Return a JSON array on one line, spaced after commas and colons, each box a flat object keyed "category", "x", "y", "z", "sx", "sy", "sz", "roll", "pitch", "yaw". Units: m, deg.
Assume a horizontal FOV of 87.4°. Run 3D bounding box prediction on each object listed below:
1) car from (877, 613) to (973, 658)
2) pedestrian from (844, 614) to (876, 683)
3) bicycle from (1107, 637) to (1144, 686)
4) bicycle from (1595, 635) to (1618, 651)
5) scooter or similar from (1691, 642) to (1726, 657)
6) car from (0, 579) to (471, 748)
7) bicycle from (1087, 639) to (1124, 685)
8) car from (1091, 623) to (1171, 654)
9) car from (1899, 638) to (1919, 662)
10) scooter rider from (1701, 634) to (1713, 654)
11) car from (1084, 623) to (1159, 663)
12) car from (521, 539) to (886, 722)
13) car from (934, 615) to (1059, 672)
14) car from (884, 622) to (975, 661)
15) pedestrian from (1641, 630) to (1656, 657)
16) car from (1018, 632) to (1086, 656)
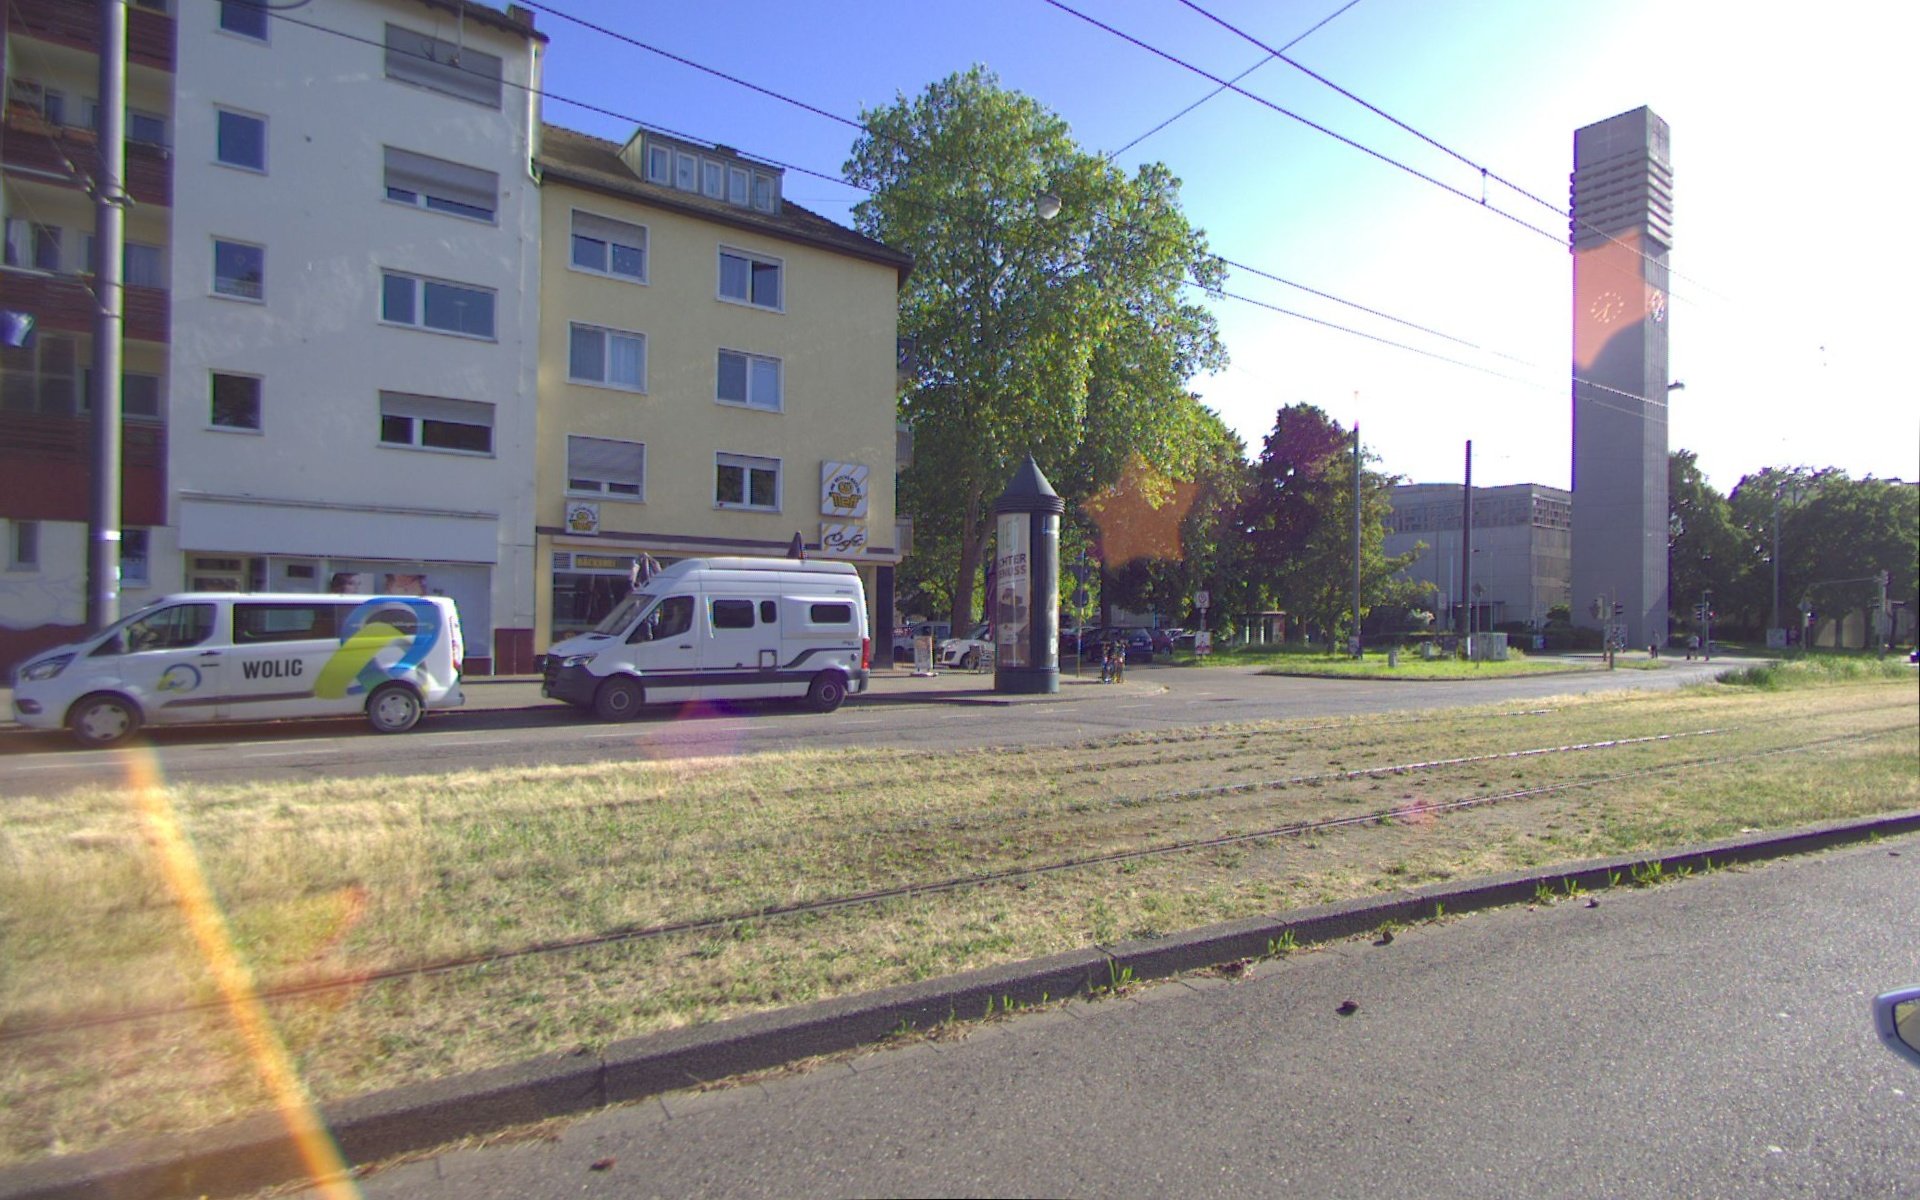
[{"category": "car", "x": -1.580, "y": 1.613, "z": 44.717, "sx": 3.933, "sy": 1.867, "sz": 1.995, "roll": 2, "pitch": -3, "yaw": -14}, {"category": "pedestrian", "x": -2.583, "y": 1.245, "z": 26.017, "sx": 0.604, "sy": 1.745, "sz": 0.564, "roll": 2, "pitch": 1, "yaw": -29}, {"category": "bicycle", "x": 4.592, "y": 1.683, "z": 27.793, "sx": 0.509, "sy": 1.268, "sz": 2.089, "roll": 3, "pitch": 0, "yaw": 22}, {"category": "bicycle", "x": 44.847, "y": 3.001, "z": 69.673, "sx": 1.661, "sy": 1.060, "sz": 0.489, "roll": 2, "pitch": 1, "yaw": -27}, {"category": "scooter or similar", "x": 46.582, "y": 3.070, "z": 62.507, "sx": 1.714, "sy": 0.911, "sz": 0.560, "roll": 0, "pitch": -2, "yaw": 41}, {"category": "car", "x": -10.182, "y": 0.830, "z": 14.573, "sx": 5.314, "sy": 2.048, "sz": 2.020, "roll": 2, "pitch": 1, "yaw": -33}, {"category": "bicycle", "x": 4.077, "y": 1.699, "z": 28.014, "sx": 0.509, "sy": 1.199, "sz": 2.090, "roll": 3, "pitch": -1, "yaw": 22}, {"category": "car", "x": 8.597, "y": 1.952, "z": 50.610, "sx": 3.589, "sy": 1.399, "sz": 1.640, "roll": 2, "pitch": 1, "yaw": -17}, {"category": "car", "x": 63.621, "y": 3.308, "z": 66.066, "sx": 4.316, "sy": 1.553, "sz": 1.796, "roll": 2, "pitch": -2, "yaw": -34}, {"category": "scooter rider", "x": 46.527, "y": 2.746, "z": 62.566, "sx": 0.519, "sy": 1.234, "sz": 0.584, "roll": 3, "pitch": 1, "yaw": 41}, {"category": "car", "x": 6.896, "y": 1.811, "z": 43.345, "sx": 1.720, "sy": 1.622, "sz": 3.988, "roll": 1, "pitch": -1, "yaw": -15}, {"category": "car", "x": -4.571, "y": 0.553, "z": 18.523, "sx": 6.162, "sy": 2.907, "sz": 2.020, "roll": 2, "pitch": 0, "yaw": -34}, {"category": "car", "x": 1.295, "y": 1.537, "z": 35.631, "sx": 3.939, "sy": 1.851, "sz": 1.991, "roll": 2, "pitch": 1, "yaw": -20}, {"category": "car", "x": -1.491, "y": 1.995, "z": 48.057, "sx": 3.993, "sy": 1.686, "sz": 1.995, "roll": 2, "pitch": -3, "yaw": -14}, {"category": "pedestrian", "x": 44.026, "y": 2.796, "z": 64.208, "sx": 0.736, "sy": 1.689, "sz": 0.441, "roll": 2, "pitch": 1, "yaw": -24}, {"category": "car", "x": 5.737, "y": 2.737, "z": 62.755, "sx": 3.936, "sy": 1.400, "sz": 1.580, "roll": 1, "pitch": -1, "yaw": -18}]
